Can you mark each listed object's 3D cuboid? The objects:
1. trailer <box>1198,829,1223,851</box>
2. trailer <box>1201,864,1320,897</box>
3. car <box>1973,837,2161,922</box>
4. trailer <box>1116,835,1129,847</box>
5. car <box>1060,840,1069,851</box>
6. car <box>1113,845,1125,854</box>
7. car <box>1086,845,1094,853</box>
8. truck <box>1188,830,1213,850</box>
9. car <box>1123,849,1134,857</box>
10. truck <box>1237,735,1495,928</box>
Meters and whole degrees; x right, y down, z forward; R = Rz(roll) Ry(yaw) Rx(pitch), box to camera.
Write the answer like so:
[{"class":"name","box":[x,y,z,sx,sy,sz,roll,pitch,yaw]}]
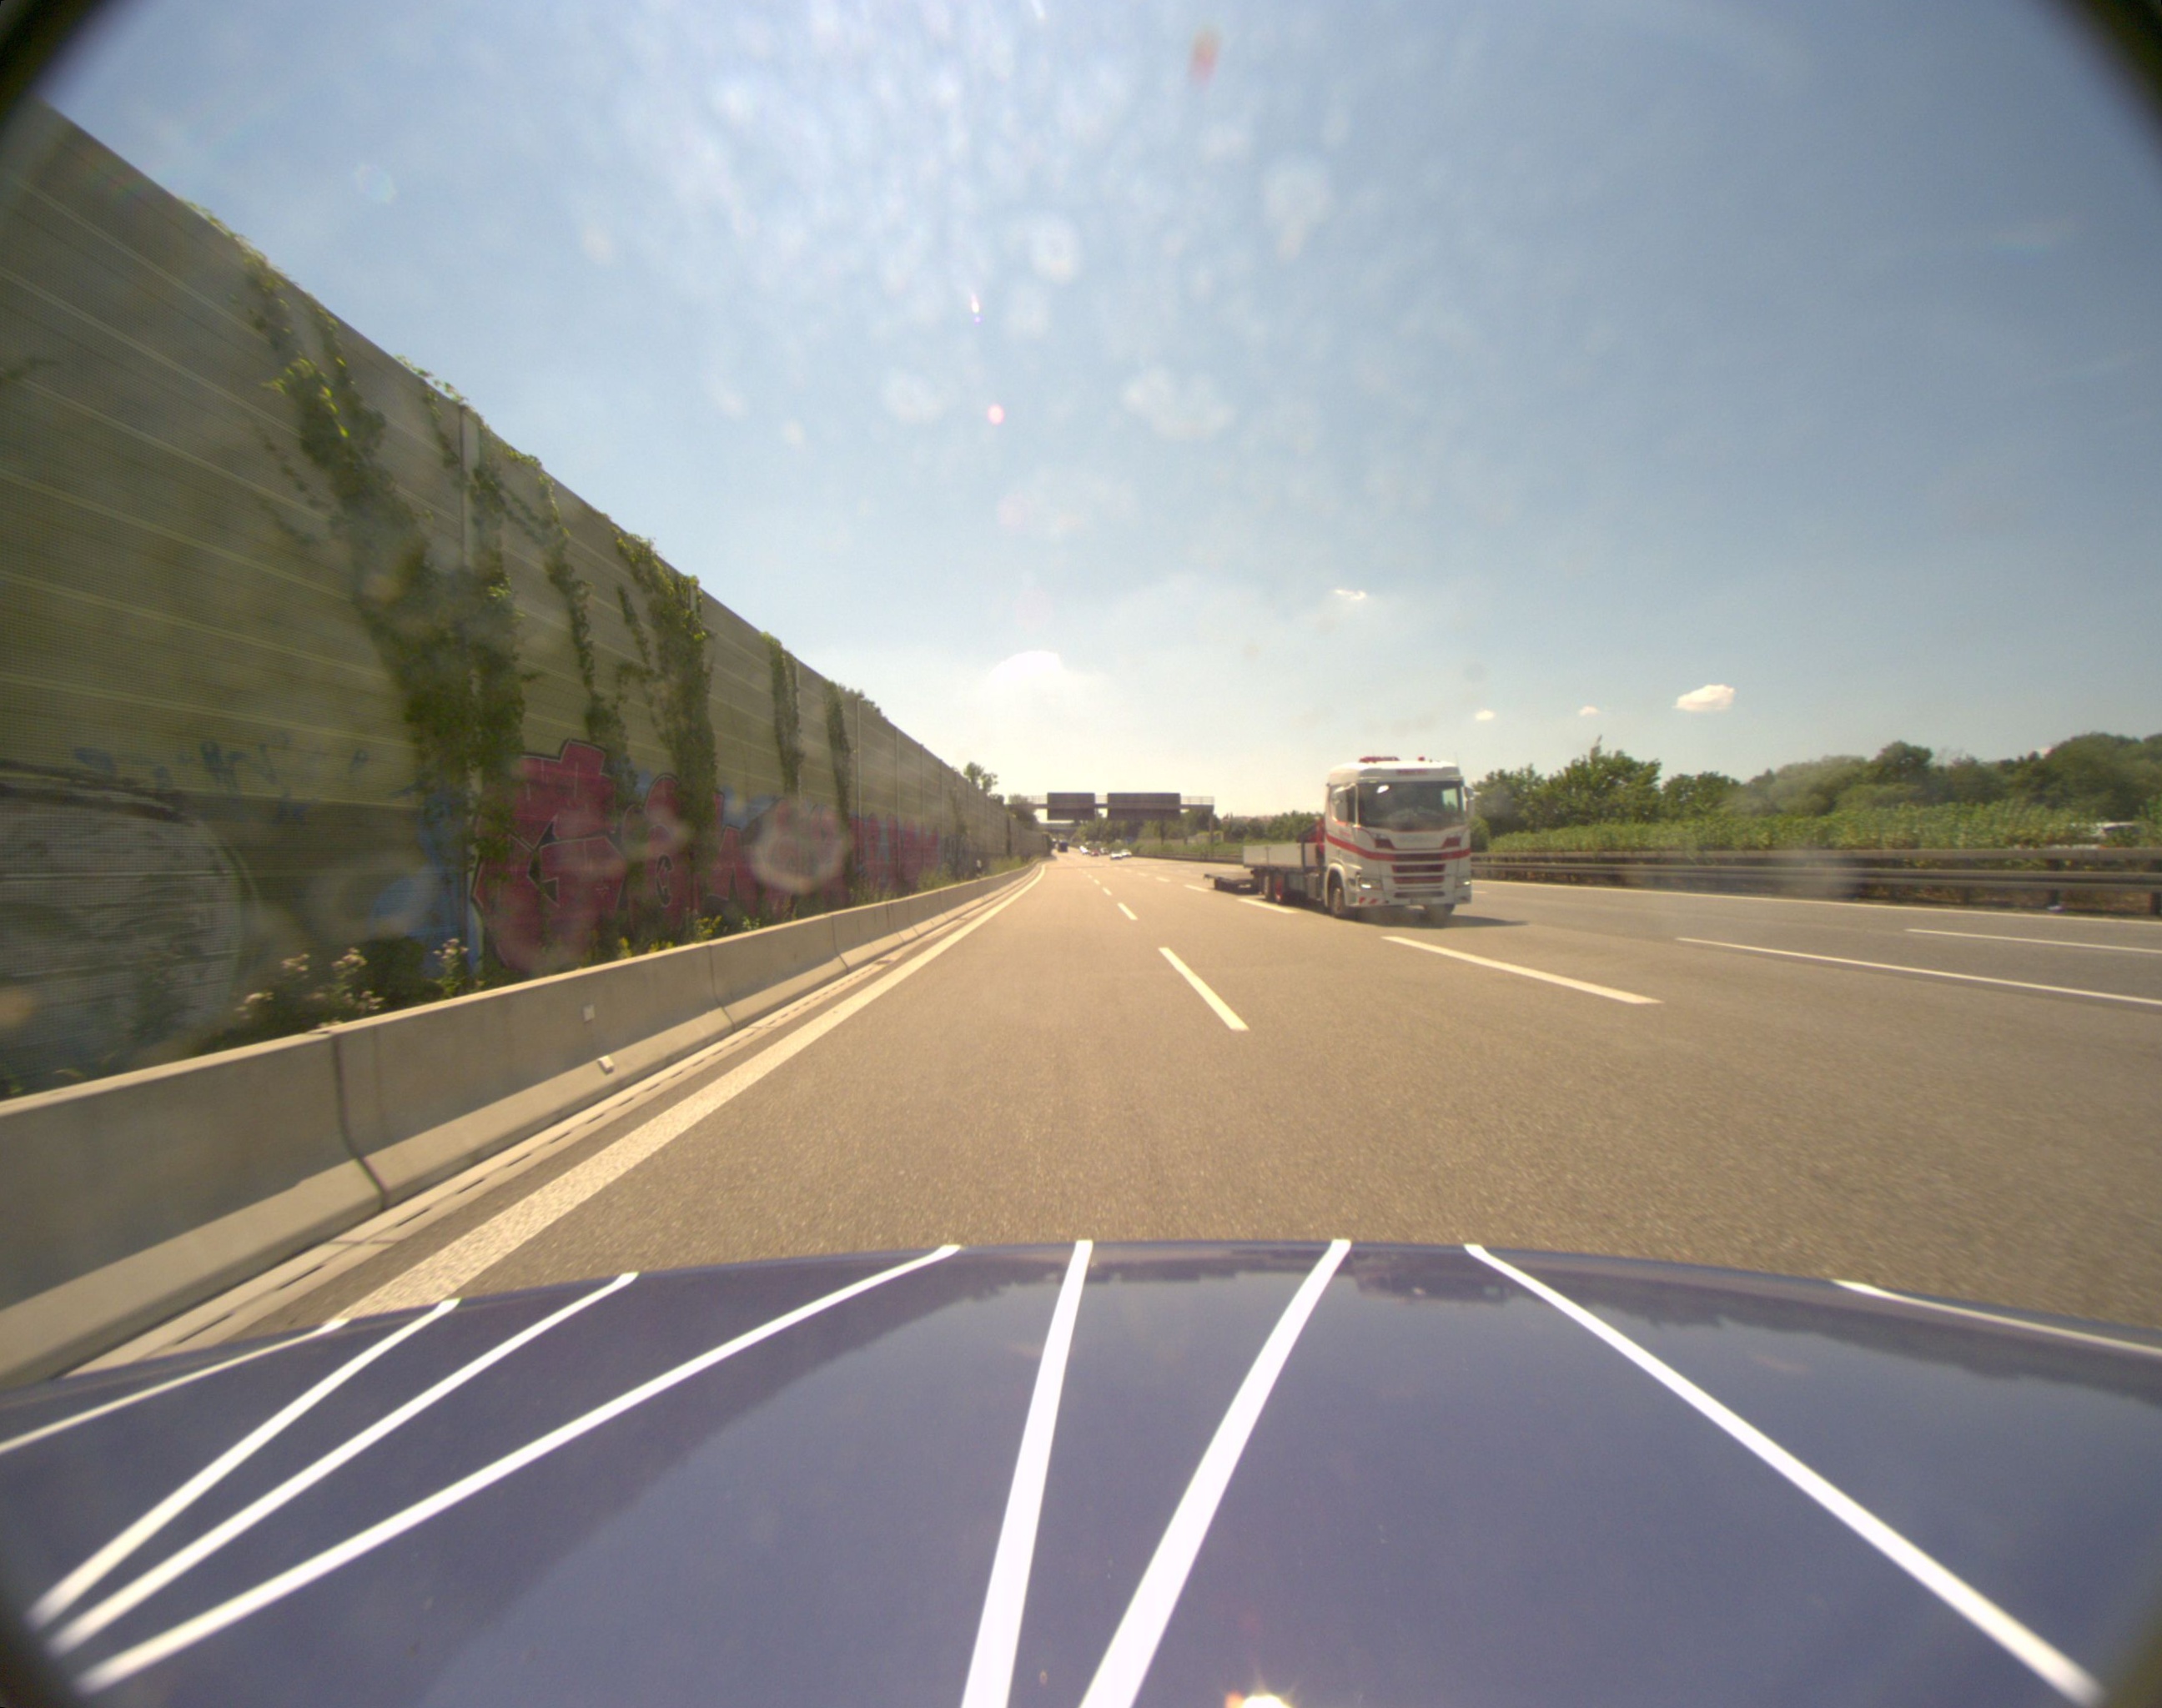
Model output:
[{"class":"trailer","box":[24.666,-2.649,145.016,2.931,3.944,8.655,-2,1,-3]},{"class":"trailer","box":[6.726,0.964,29.754,2.721,0.929,7.759,-2,0,-1]},{"class":"car","box":[25.454,0.542,18.825,1.998,1.818,3.998,-1,2,1]},{"class":"trailer","box":[14.632,-4.523,269.914,2.613,4.110,14.220,-1,1,-5]},{"class":"car","box":[-5.231,-2.621,242.266,2.116,3.283,6.442,-2,0,-5]},{"class":"car","box":[6.689,-0.811,134.820,1.786,1.494,4.170,-1,1,-2]},{"class":"car","box":[2.468,-1.354,200.743,1.998,1.832,4.000,-2,0,0]},{"class":"truck","box":[24.184,-2.777,154.522,3.010,3.944,10.317,-2,1,-3]},{"class":"car","box":[9.269,-0.201,149.088,1.883,1.542,4.001,-2,-1,1]},{"class":"truck","box":[6.813,-0.439,20.571,2.721,3.780,10.670,-2,0,-1]}]
